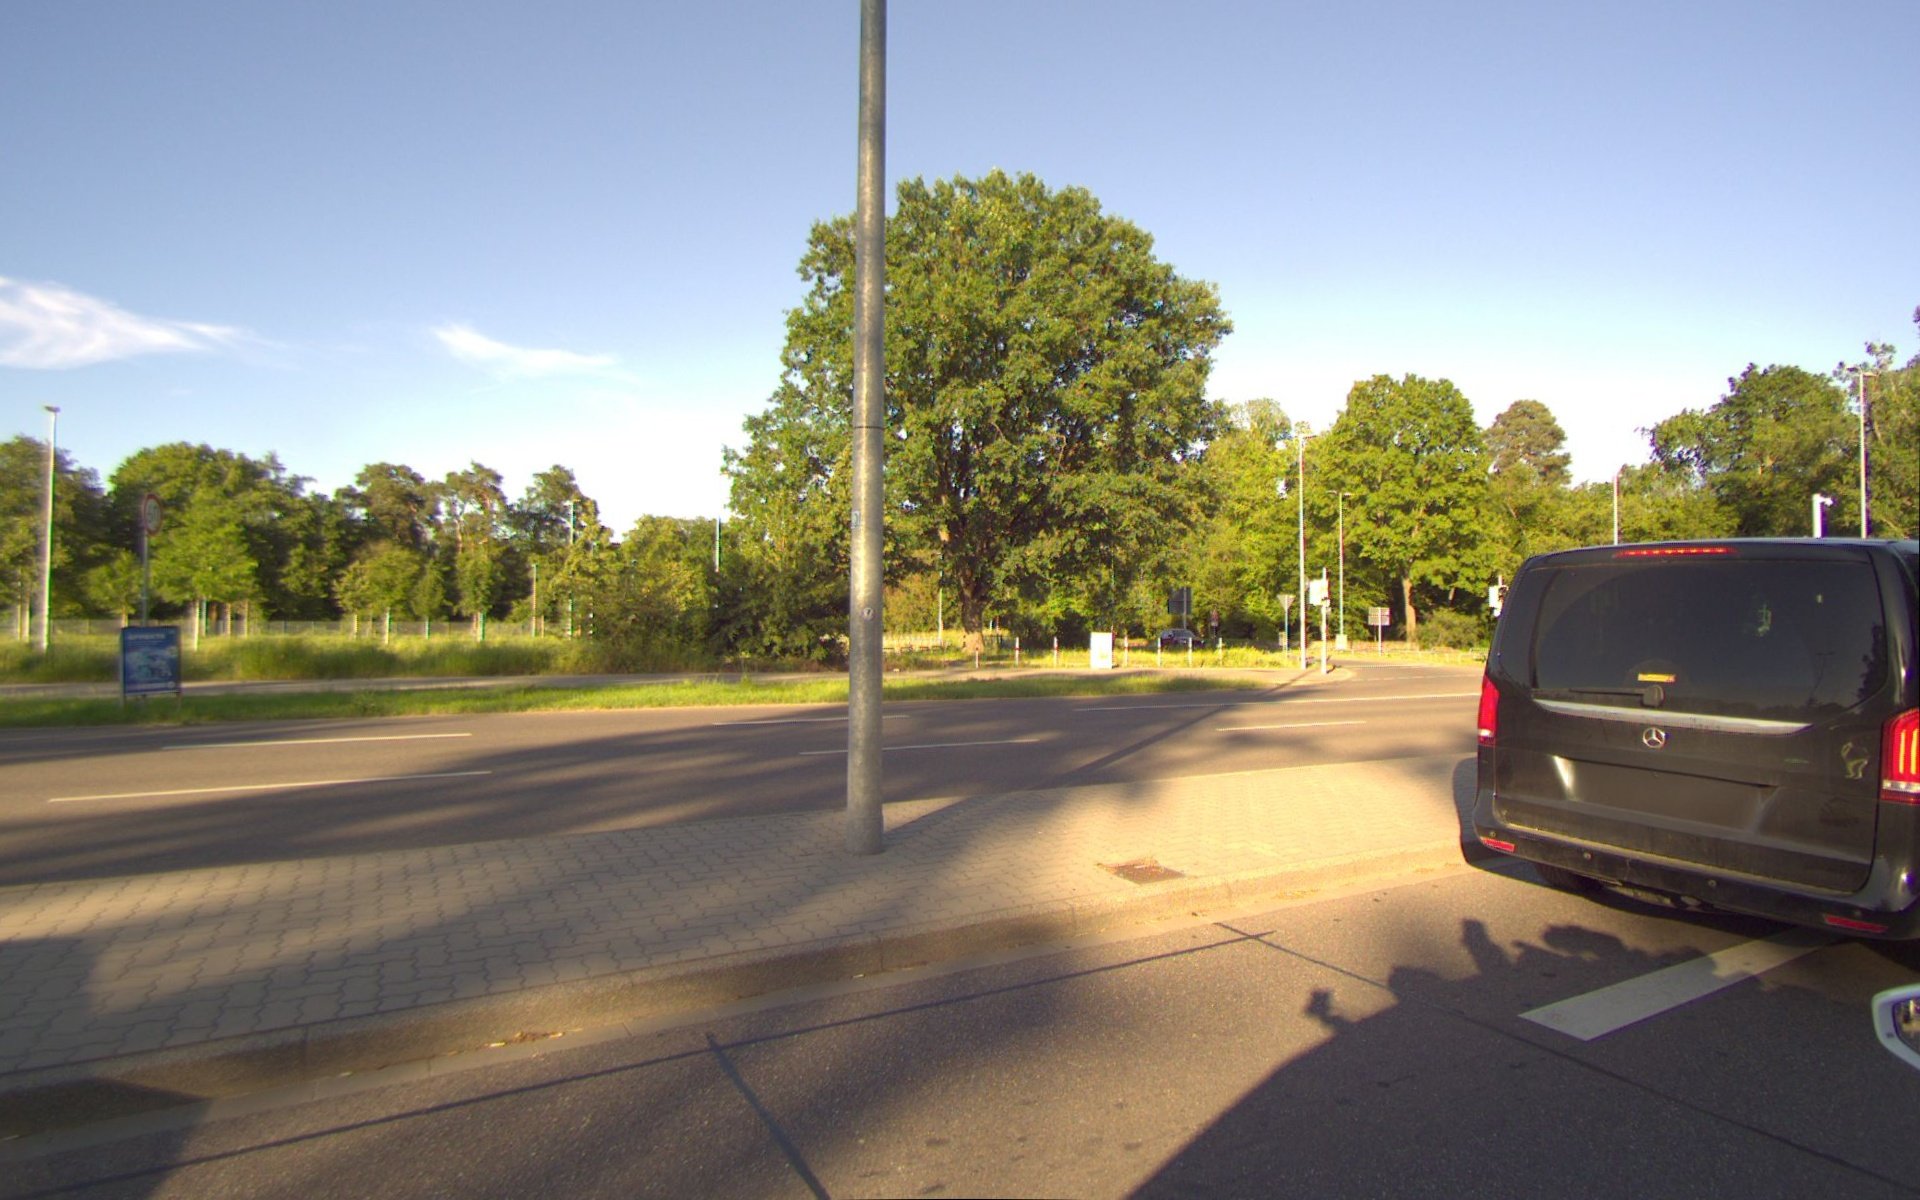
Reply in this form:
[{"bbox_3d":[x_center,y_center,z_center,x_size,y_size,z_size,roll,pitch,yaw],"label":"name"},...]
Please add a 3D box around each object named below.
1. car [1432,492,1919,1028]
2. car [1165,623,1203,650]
[{"bbox_3d":[4.969,0.589,5.573,4.817,1.881,1.897,1,0,-31],"label":"car"},{"bbox_3d":[14.694,2.362,66.042,1.959,1.639,4.002,2,0,7],"label":"car"}]
